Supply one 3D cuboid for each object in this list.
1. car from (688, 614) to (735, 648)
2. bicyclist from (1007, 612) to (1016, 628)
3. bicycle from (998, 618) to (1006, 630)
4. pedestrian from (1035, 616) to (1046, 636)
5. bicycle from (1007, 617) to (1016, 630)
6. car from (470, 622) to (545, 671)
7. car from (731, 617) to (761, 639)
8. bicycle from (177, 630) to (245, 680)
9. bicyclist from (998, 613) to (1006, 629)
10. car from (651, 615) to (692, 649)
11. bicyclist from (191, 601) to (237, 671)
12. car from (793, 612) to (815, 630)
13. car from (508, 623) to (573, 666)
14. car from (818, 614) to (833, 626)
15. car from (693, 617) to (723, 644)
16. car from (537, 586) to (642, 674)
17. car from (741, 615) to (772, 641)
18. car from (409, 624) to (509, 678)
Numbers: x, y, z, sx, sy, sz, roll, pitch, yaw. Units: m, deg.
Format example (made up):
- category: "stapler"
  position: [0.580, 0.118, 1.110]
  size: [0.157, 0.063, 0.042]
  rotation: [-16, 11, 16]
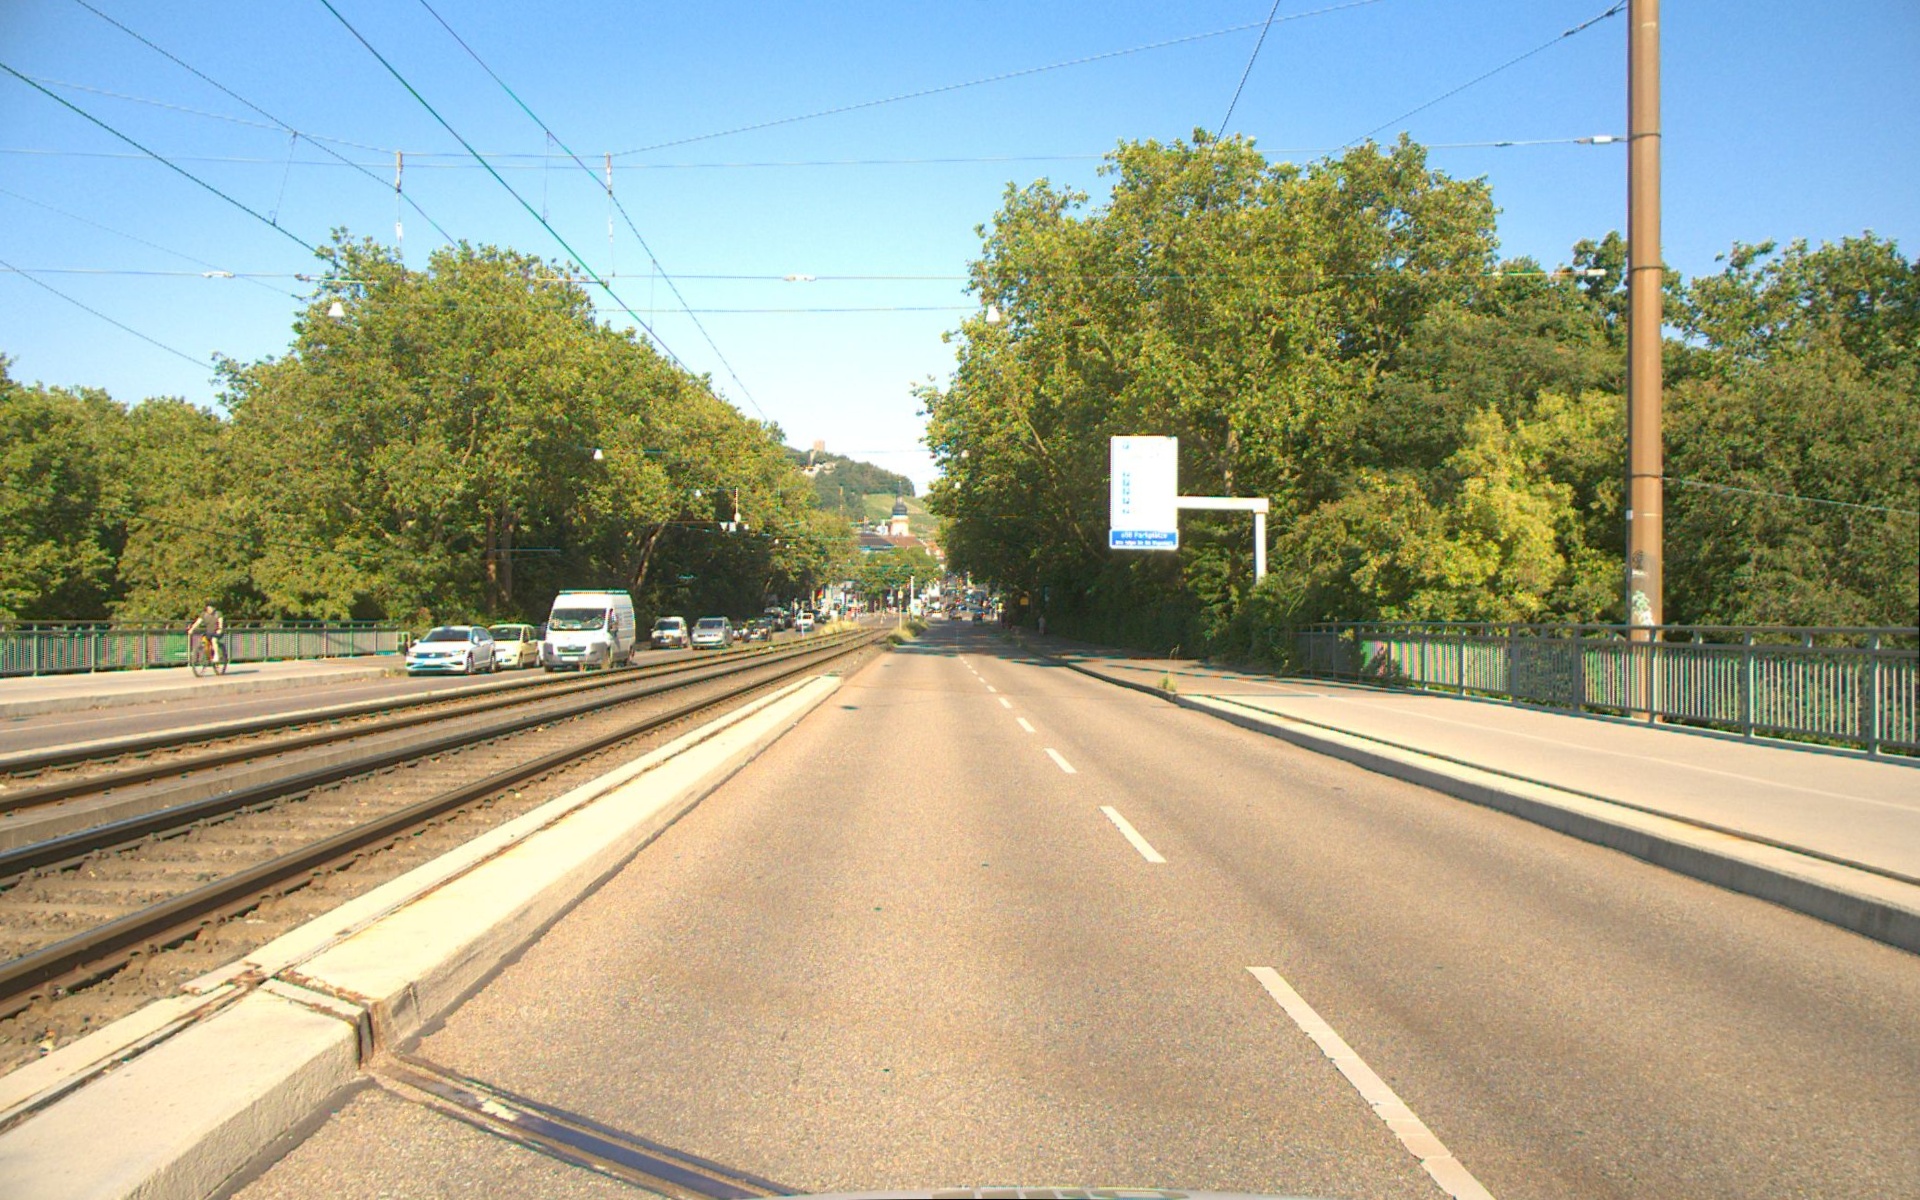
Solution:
- category: "car"
  position: [-13.344, 1.645, 89.121]
  size: [1.835, 1.694, 4.596]
  rotation: [2, 0, -1]
- category: "bicyclist"
  position: [5.263, 2.082, 170.040]
  size: [0.869, 1.667, 1.164]
  rotation: [0, -1, -1]
- category: "bicycle"
  position: [4.659, 2.661, 182.647]
  size: [0.869, 1.344, 2.639]
  rotation: [-1, -1, 0]
- category: "pedestrian"
  position: [6.233, 2.014, 127.926]
  size: [0.787, 1.573, 0.814]
  rotation: [-1, -1, 3]
- category: "bicycle"
  position: [5.265, 2.371, 169.790]
  size: [0.869, 1.344, 2.639]
  rotation: [-1, -1, -1]
- category: "car"
  position: [-15.410, 1.560, 56.483]
  size: [1.600, 1.558, 3.789]
  rotation: [0, 0, -1]
- category: "car"
  position: [-16.832, 2.188, 130.202]
  size: [1.953, 1.726, 4.742]
  rotation: [-1, -1, -2]
- category: "bicycle"
  position: [-18.106, 1.317, 40.033]
  size: [0.666, 1.117, 2.099]
  rotation: [2, 0, -1]
- category: "bicyclist"
  position: [4.660, 2.294, 182.447]
  size: [0.869, 1.806, 1.222]
  rotation: [-1, -1, 0]
- category: "car"
  position: [-16.587, 1.833, 95.331]
  size: [1.707, 1.773, 4.511]
  rotation: [-3, 0, -3]
- category: "bicyclist"
  position: [-18.097, 0.868, 40.116]
  size: [0.666, 1.655, 0.890]
  rotation: [2, 0, -1]
- category: "car"
  position: [-16.575, 2.206, 175.823]
  size: [1.954, 1.877, 5.299]
  rotation: [2, 0, -3]
- category: "car"
  position: [-15.646, 1.643, 61.855]
  size: [1.601, 1.476, 3.999]
  rotation: [0, 0, -3]
- category: "car"
  position: [-19.715, 2.970, 242.680]
  size: [1.953, 1.726, 4.742]
  rotation: [-1, -1, -2]
- category: "car"
  position: [-16.808, 2.011, 110.521]
  size: [1.708, 1.665, 3.995]
  rotation: [-1, 0, -6]
- category: "car"
  position: [-11.976, 0.931, 53.871]
  size: [2.044, 2.638, 6.040]
  rotation: [1, 0, -1]
- category: "car"
  position: [-13.957, 1.912, 113.549]
  size: [1.707, 1.652, 4.392]
  rotation: [-2, 0, -3]
- category: "car"
  position: [-15.267, 1.521, 50.620]
  size: [1.706, 1.489, 4.953]
  rotation: [0, 0, -2]
